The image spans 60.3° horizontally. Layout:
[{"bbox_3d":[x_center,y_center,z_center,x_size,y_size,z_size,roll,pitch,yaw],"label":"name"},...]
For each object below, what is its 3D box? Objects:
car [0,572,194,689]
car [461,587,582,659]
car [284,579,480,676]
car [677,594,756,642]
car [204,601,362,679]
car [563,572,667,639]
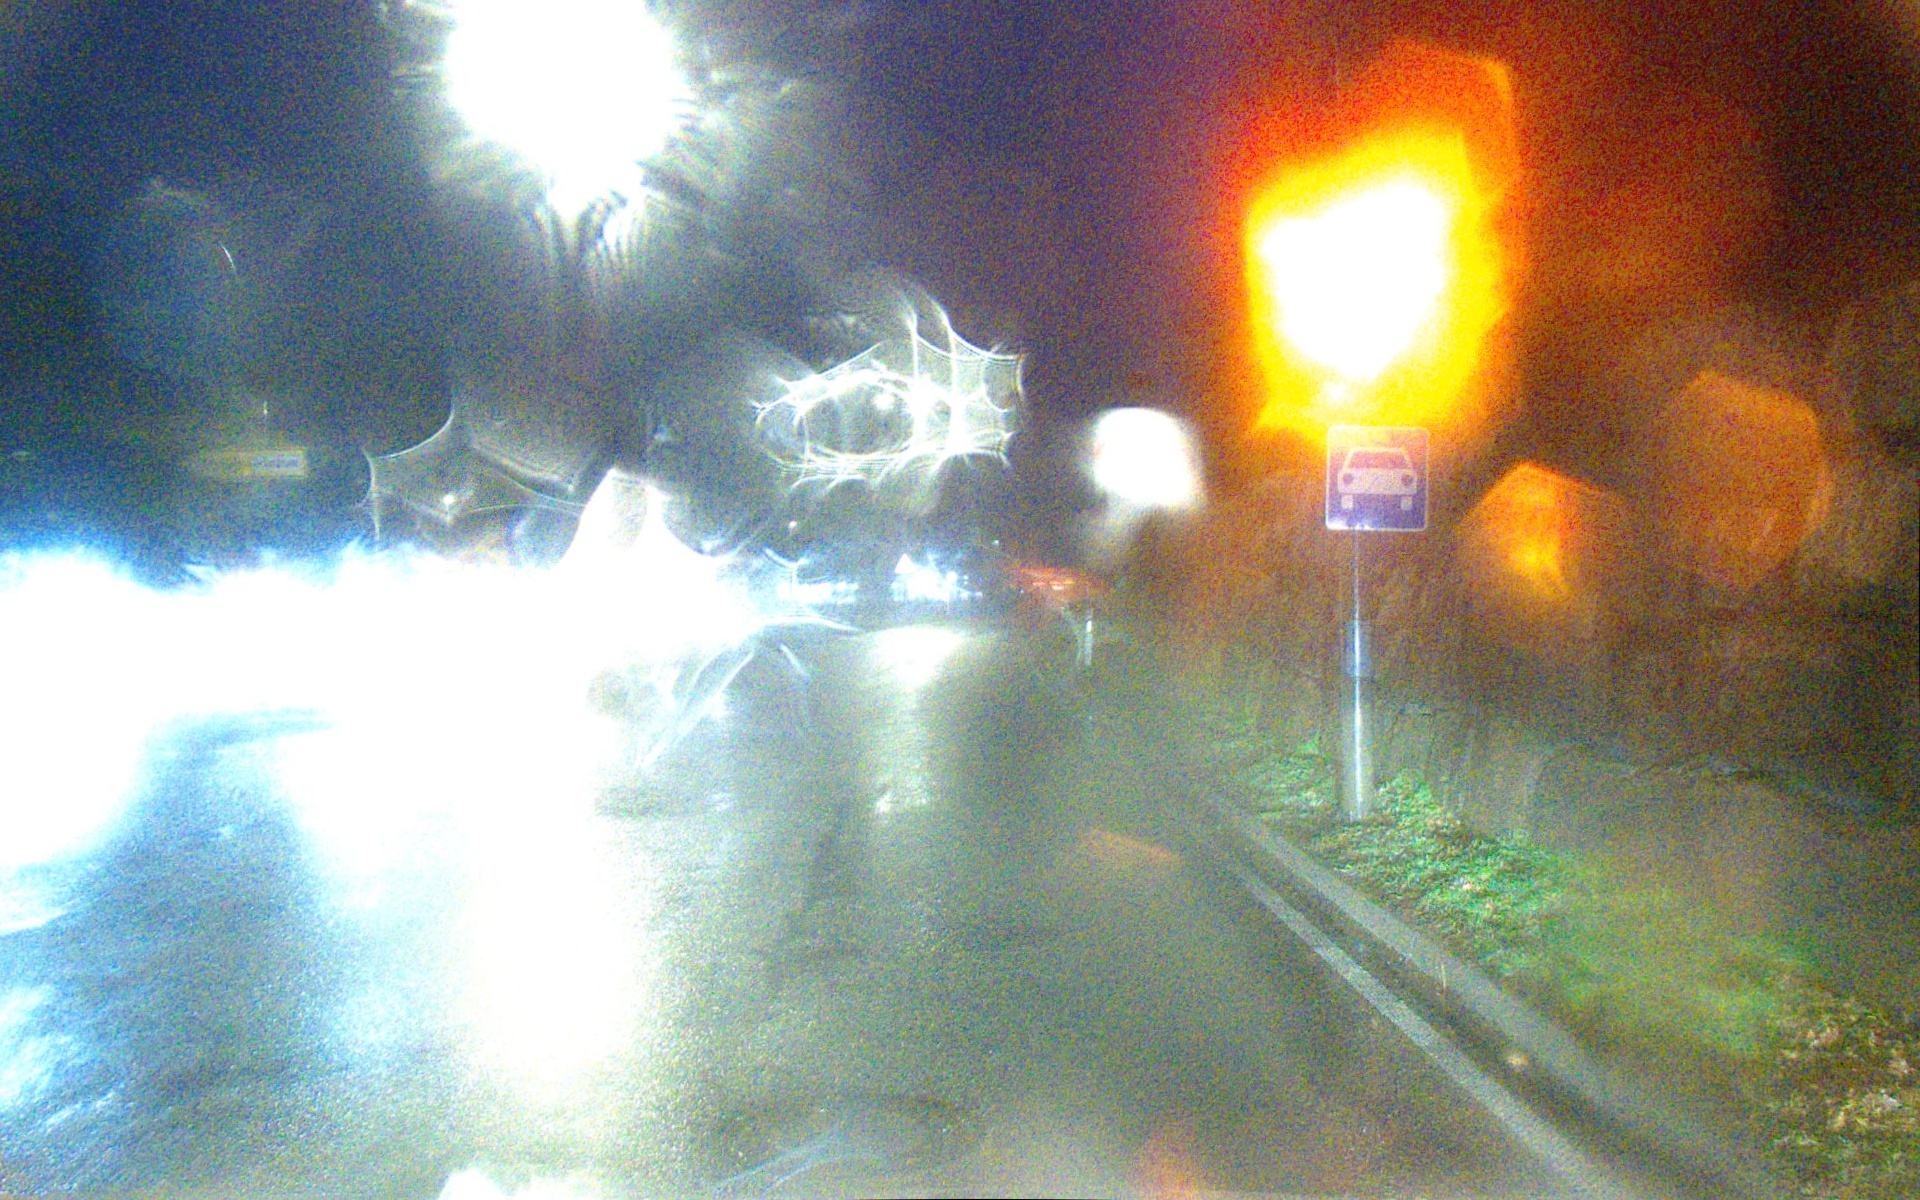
[{"bbox_3d":[-13.670,0.412,25.198,1.755,1.599,4.913,0,0,-1],"label":"car"},{"bbox_3d":[-9.837,0.521,37.321,1.552,1.552,3.653,0,-1,3],"label":"car"},{"bbox_3d":[-10.280,0.455,29.814,1.663,1.599,4.714,0,0,3],"label":"car"},{"bbox_3d":[-8.193,0.613,56.119,1.672,1.561,4.602,0,-1,4],"label":"car"},{"bbox_3d":[-13.570,0.782,33.372,1.634,1.479,3.727,0,-1,0],"label":"car"},{"bbox_3d":[-9.374,0.160,45.263,1.681,1.733,4.145,0,-1,5],"label":"car"}]
